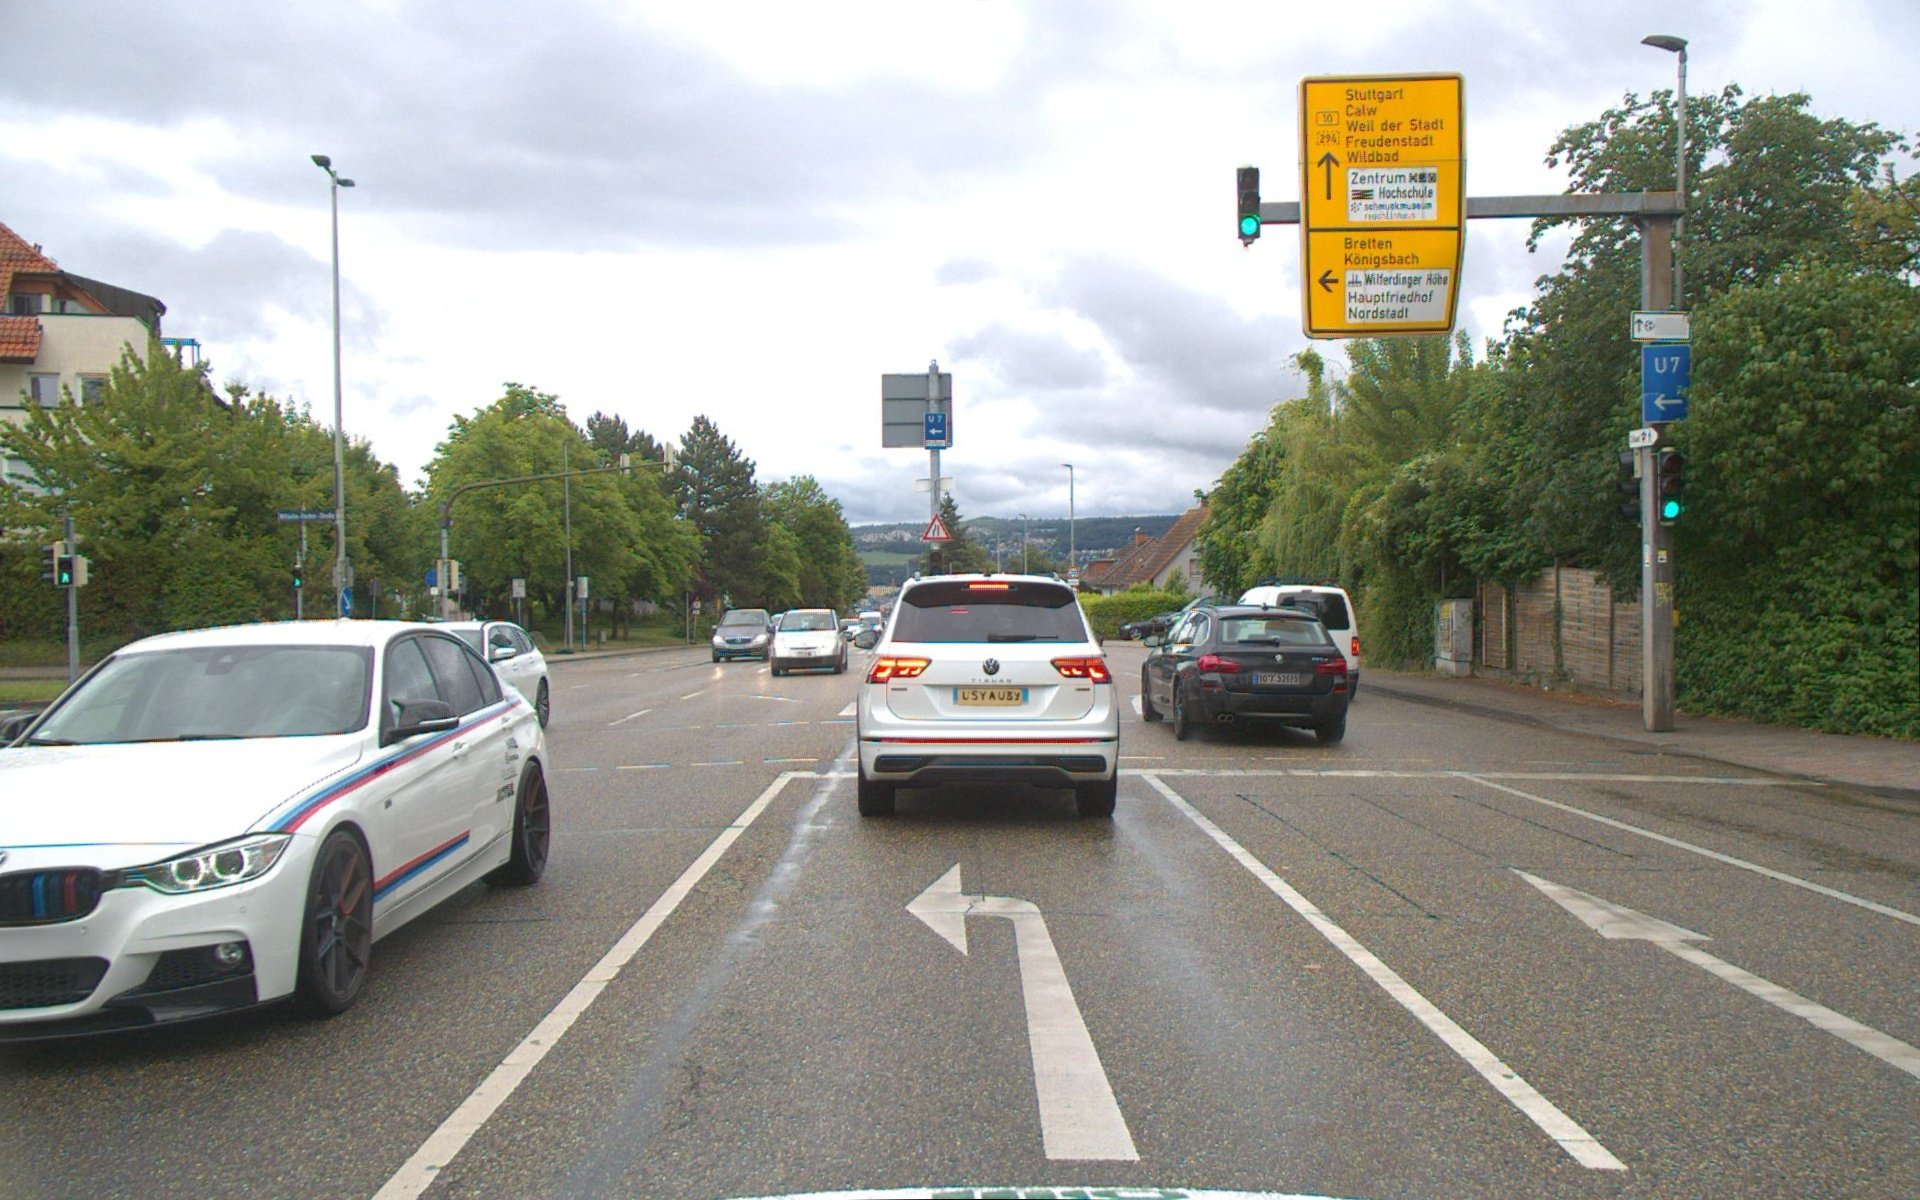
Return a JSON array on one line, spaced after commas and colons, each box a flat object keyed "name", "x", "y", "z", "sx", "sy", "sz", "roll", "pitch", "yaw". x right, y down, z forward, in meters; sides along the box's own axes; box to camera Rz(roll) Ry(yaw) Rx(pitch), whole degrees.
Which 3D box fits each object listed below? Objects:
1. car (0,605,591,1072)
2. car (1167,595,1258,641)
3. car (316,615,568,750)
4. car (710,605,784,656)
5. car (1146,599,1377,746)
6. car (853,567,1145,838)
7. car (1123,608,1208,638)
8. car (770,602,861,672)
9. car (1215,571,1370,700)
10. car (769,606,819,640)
[{"name": "car", "x": -3.049, "y": 0.785, "z": 7.467, "sx": 1.713, "sy": 1.409, "sz": 4.411, "roll": -2, "pitch": 0, "yaw": 0}, {"name": "car", "x": 11.306, "y": 0.792, "z": 74.292, "sx": 3.904, "sy": 1.990, "sz": 1.586, "roll": 1, "pitch": 0, "yaw": 3}, {"name": "car", "x": -6.272, "y": 0.931, "z": 20.576, "sx": 1.739, "sy": 1.409, "sz": 4.548, "roll": -1, "pitch": 0, "yaw": -1}, {"name": "car", "x": -6.640, "y": 0.927, "z": 51.928, "sx": 1.738, "sy": 1.484, "sz": 4.548, "roll": -1, "pitch": 0, "yaw": -1}, {"name": "car", "x": 3.328, "y": 0.783, "z": 19.005, "sx": 1.860, "sy": 1.467, "sz": 3.999, "roll": 1, "pitch": -1, "yaw": -1}, {"name": "car", "x": 0.222, "y": 0.627, "z": 12.423, "sx": 1.830, "sy": 1.703, "sz": 3.999, "roll": 0, "pitch": 0, "yaw": -1}, {"name": "car", "x": 9.802, "y": 1.094, "z": 79.133, "sx": 3.904, "sy": 1.400, "sz": 1.586, "roll": 1, "pitch": 0, "yaw": 3}, {"name": "car", "x": -3.325, "y": 0.811, "z": 38.798, "sx": 1.738, "sy": 1.484, "sz": 4.548, "roll": -1, "pitch": 0, "yaw": -1}, {"name": "car", "x": 5.490, "y": 0.520, "z": 27.737, "sx": 1.729, "sy": 1.909, "sz": 3.805, "roll": 0, "pitch": 3, "yaw": -1}, {"name": "car", "x": -6.741, "y": 0.920, "z": 67.452, "sx": 1.616, "sy": 1.295, "sz": 3.621, "roll": -1, "pitch": 0, "yaw": 1}]
